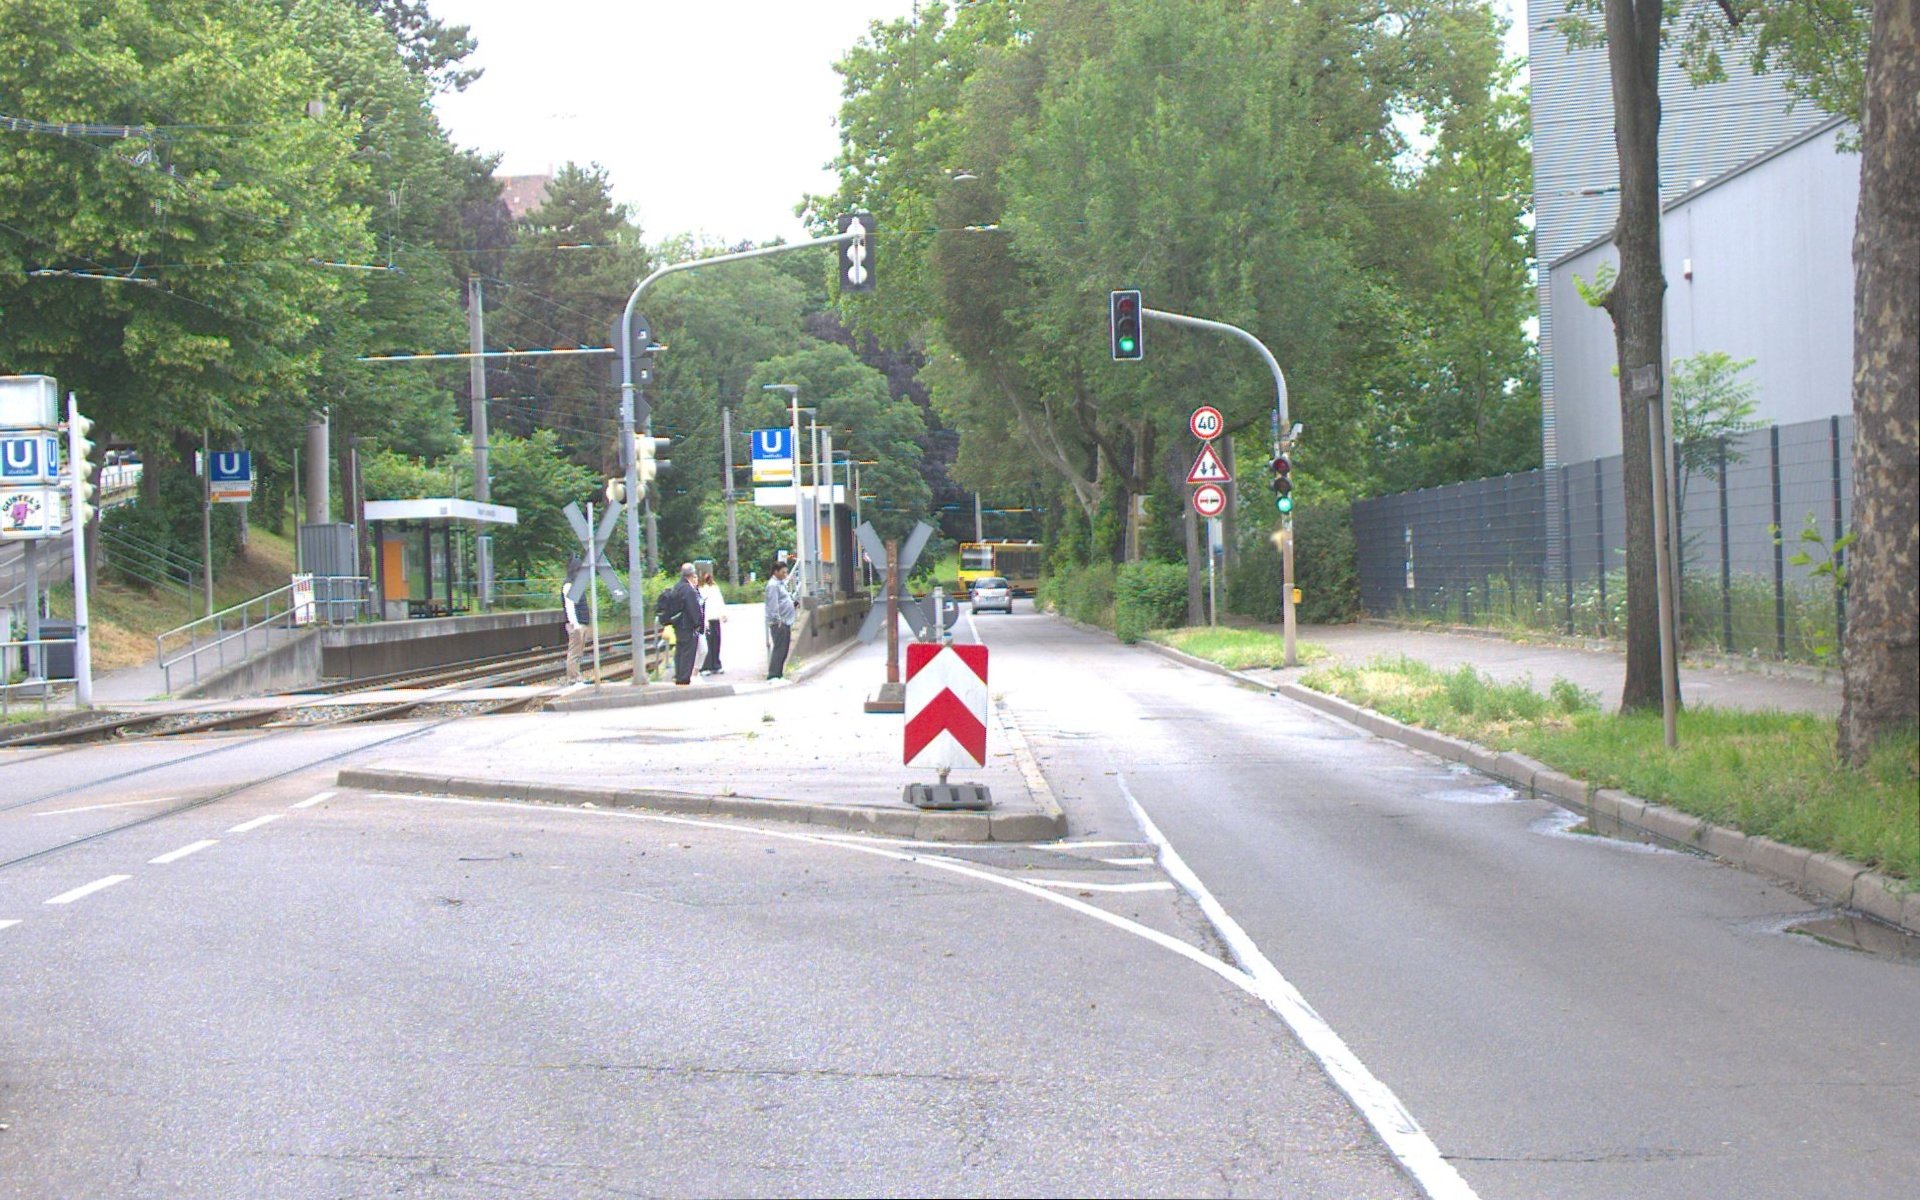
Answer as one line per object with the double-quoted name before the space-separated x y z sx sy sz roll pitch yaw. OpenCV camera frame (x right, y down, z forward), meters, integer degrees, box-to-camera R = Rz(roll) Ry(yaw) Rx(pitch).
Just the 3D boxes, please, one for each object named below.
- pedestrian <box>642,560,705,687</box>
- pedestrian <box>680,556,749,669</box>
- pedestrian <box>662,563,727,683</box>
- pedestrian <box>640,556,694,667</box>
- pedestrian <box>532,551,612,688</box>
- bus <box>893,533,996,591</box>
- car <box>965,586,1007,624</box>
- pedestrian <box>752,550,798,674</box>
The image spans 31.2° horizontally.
"pedestrian" -3.790 0.313 45.544 0.735 1.659 0.682 1 0 1
"pedestrian" -3.628 0.181 50.872 0.681 1.659 0.736 1 0 39
"pedestrian" -3.716 0.313 48.158 0.680 1.659 0.737 1 0 15
"pedestrian" -4.454 0.170 52.283 0.735 1.659 0.682 1 0 -11
"pedestrian" -5.192 0.261 46.017 0.670 1.815 0.803 1 0 42
"bus" -0.942 -2.428 221.863 2.738 3.614 8.928 1 0 27
"car" 1.130 0.192 150.818 1.743 1.593 4.000 2 0 0
"pedestrian" -2.648 0.174 49.319 0.550 1.752 0.737 1 0 4
